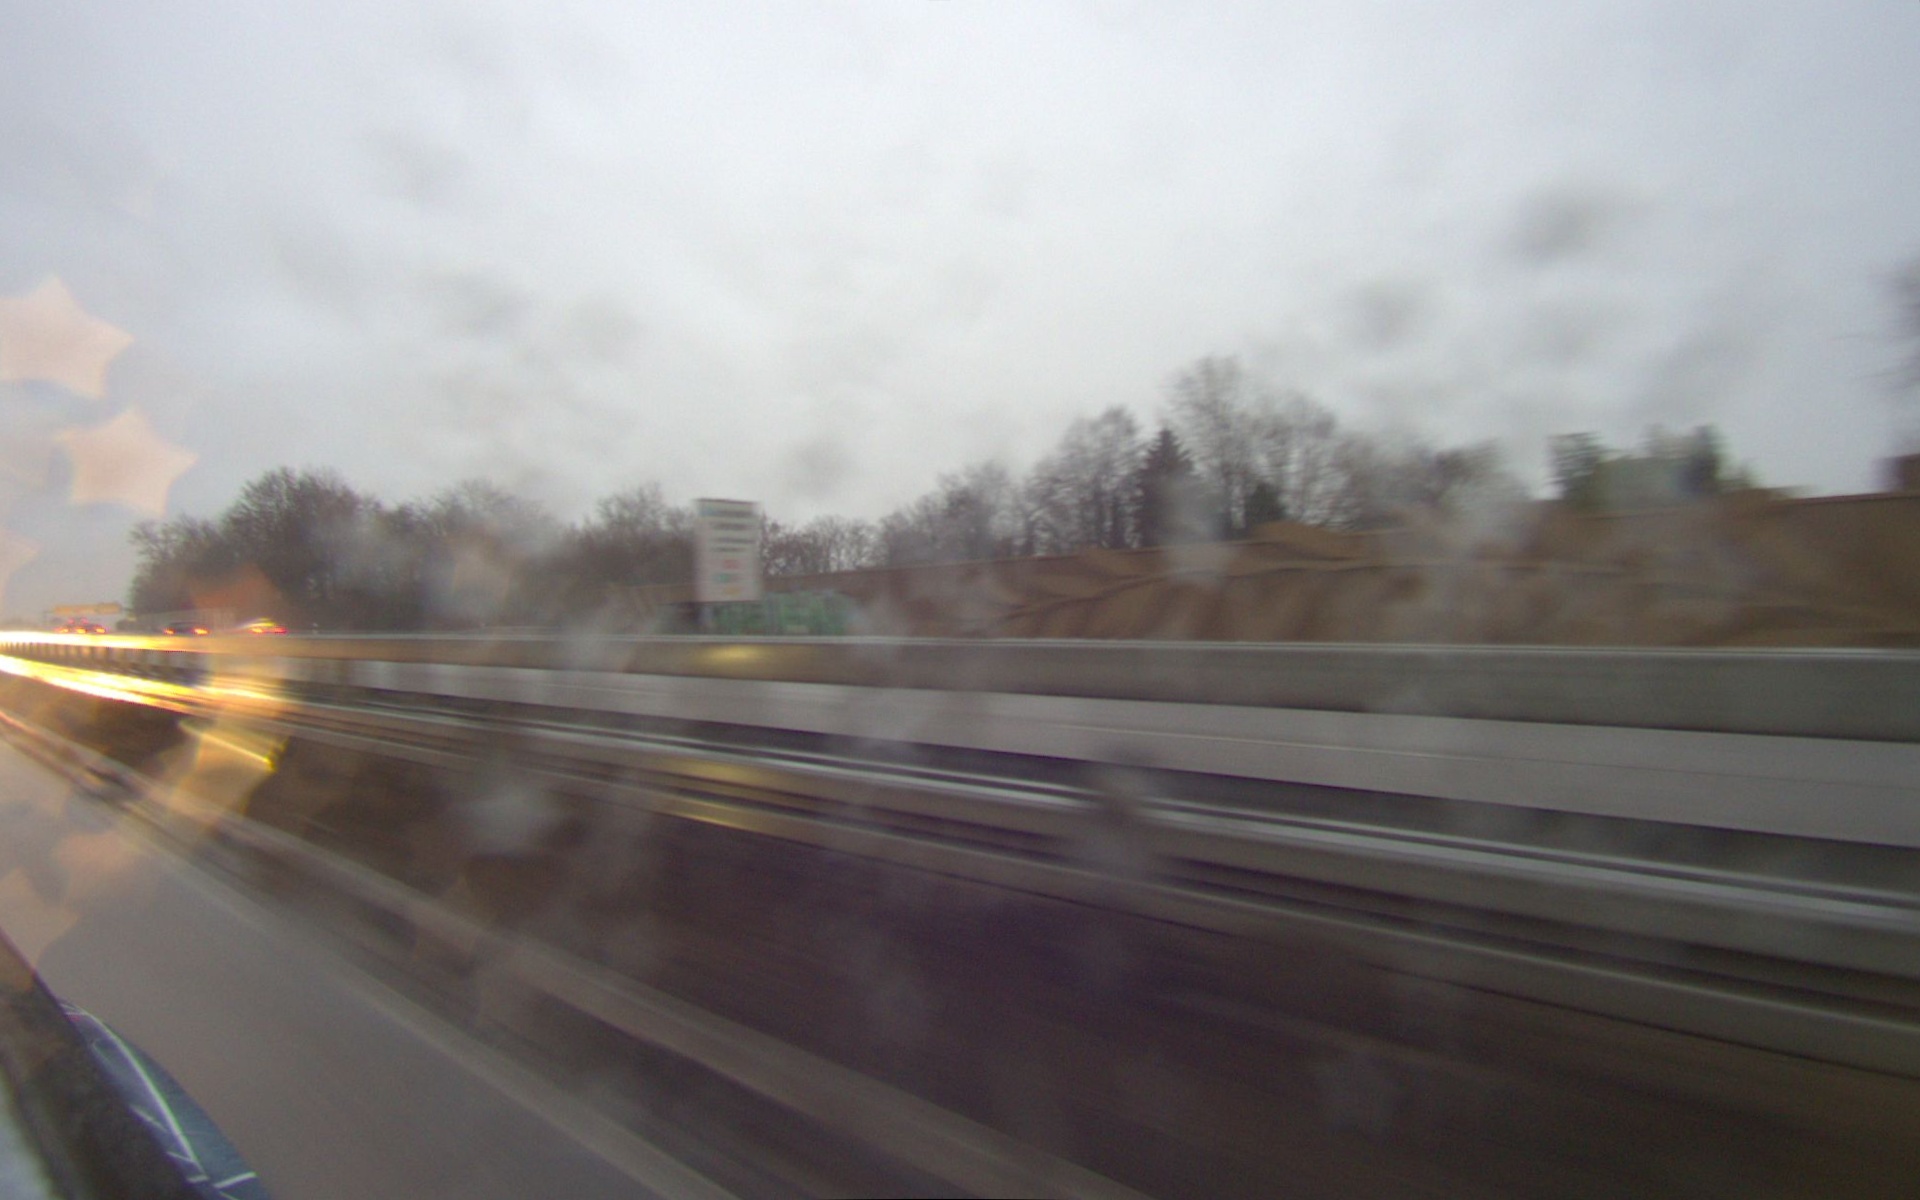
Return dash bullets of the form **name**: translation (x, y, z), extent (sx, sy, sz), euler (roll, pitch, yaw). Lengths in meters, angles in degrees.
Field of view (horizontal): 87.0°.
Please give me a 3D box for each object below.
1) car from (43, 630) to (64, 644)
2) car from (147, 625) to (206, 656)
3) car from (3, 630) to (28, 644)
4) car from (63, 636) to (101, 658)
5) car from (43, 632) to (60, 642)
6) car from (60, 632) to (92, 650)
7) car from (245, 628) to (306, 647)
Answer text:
- **car**: translation (-113.000, 4.632, 126.107), extent (4.180, 1.619, 1.707), euler (-2, -1, 44)
- **car**: translation (-39.032, 1.983, 50.401), extent (3.680, 1.452, 1.679), euler (-2, -1, 42)
- **car**: translation (-107.838, 4.192, 115.509), extent (4.646, 1.460, 1.845), euler (-2, -1, 43)
- **car**: translation (-70.835, 3.773, 81.641), extent (4.780, 1.639, 1.845), euler (-2, -1, 43)
- **car**: translation (-148.282, 6.018, 165.111), extent (1.970, 1.525, 4.287), euler (-1, -1, -44)
- **car**: translation (-83.786, 3.873, 95.912), extent (4.646, 1.639, 1.845), euler (-2, -1, 43)
- **car**: translation (-46.593, 2.560, 68.871), extent (3.980, 1.170, 1.786), euler (-1, -1, 27)
